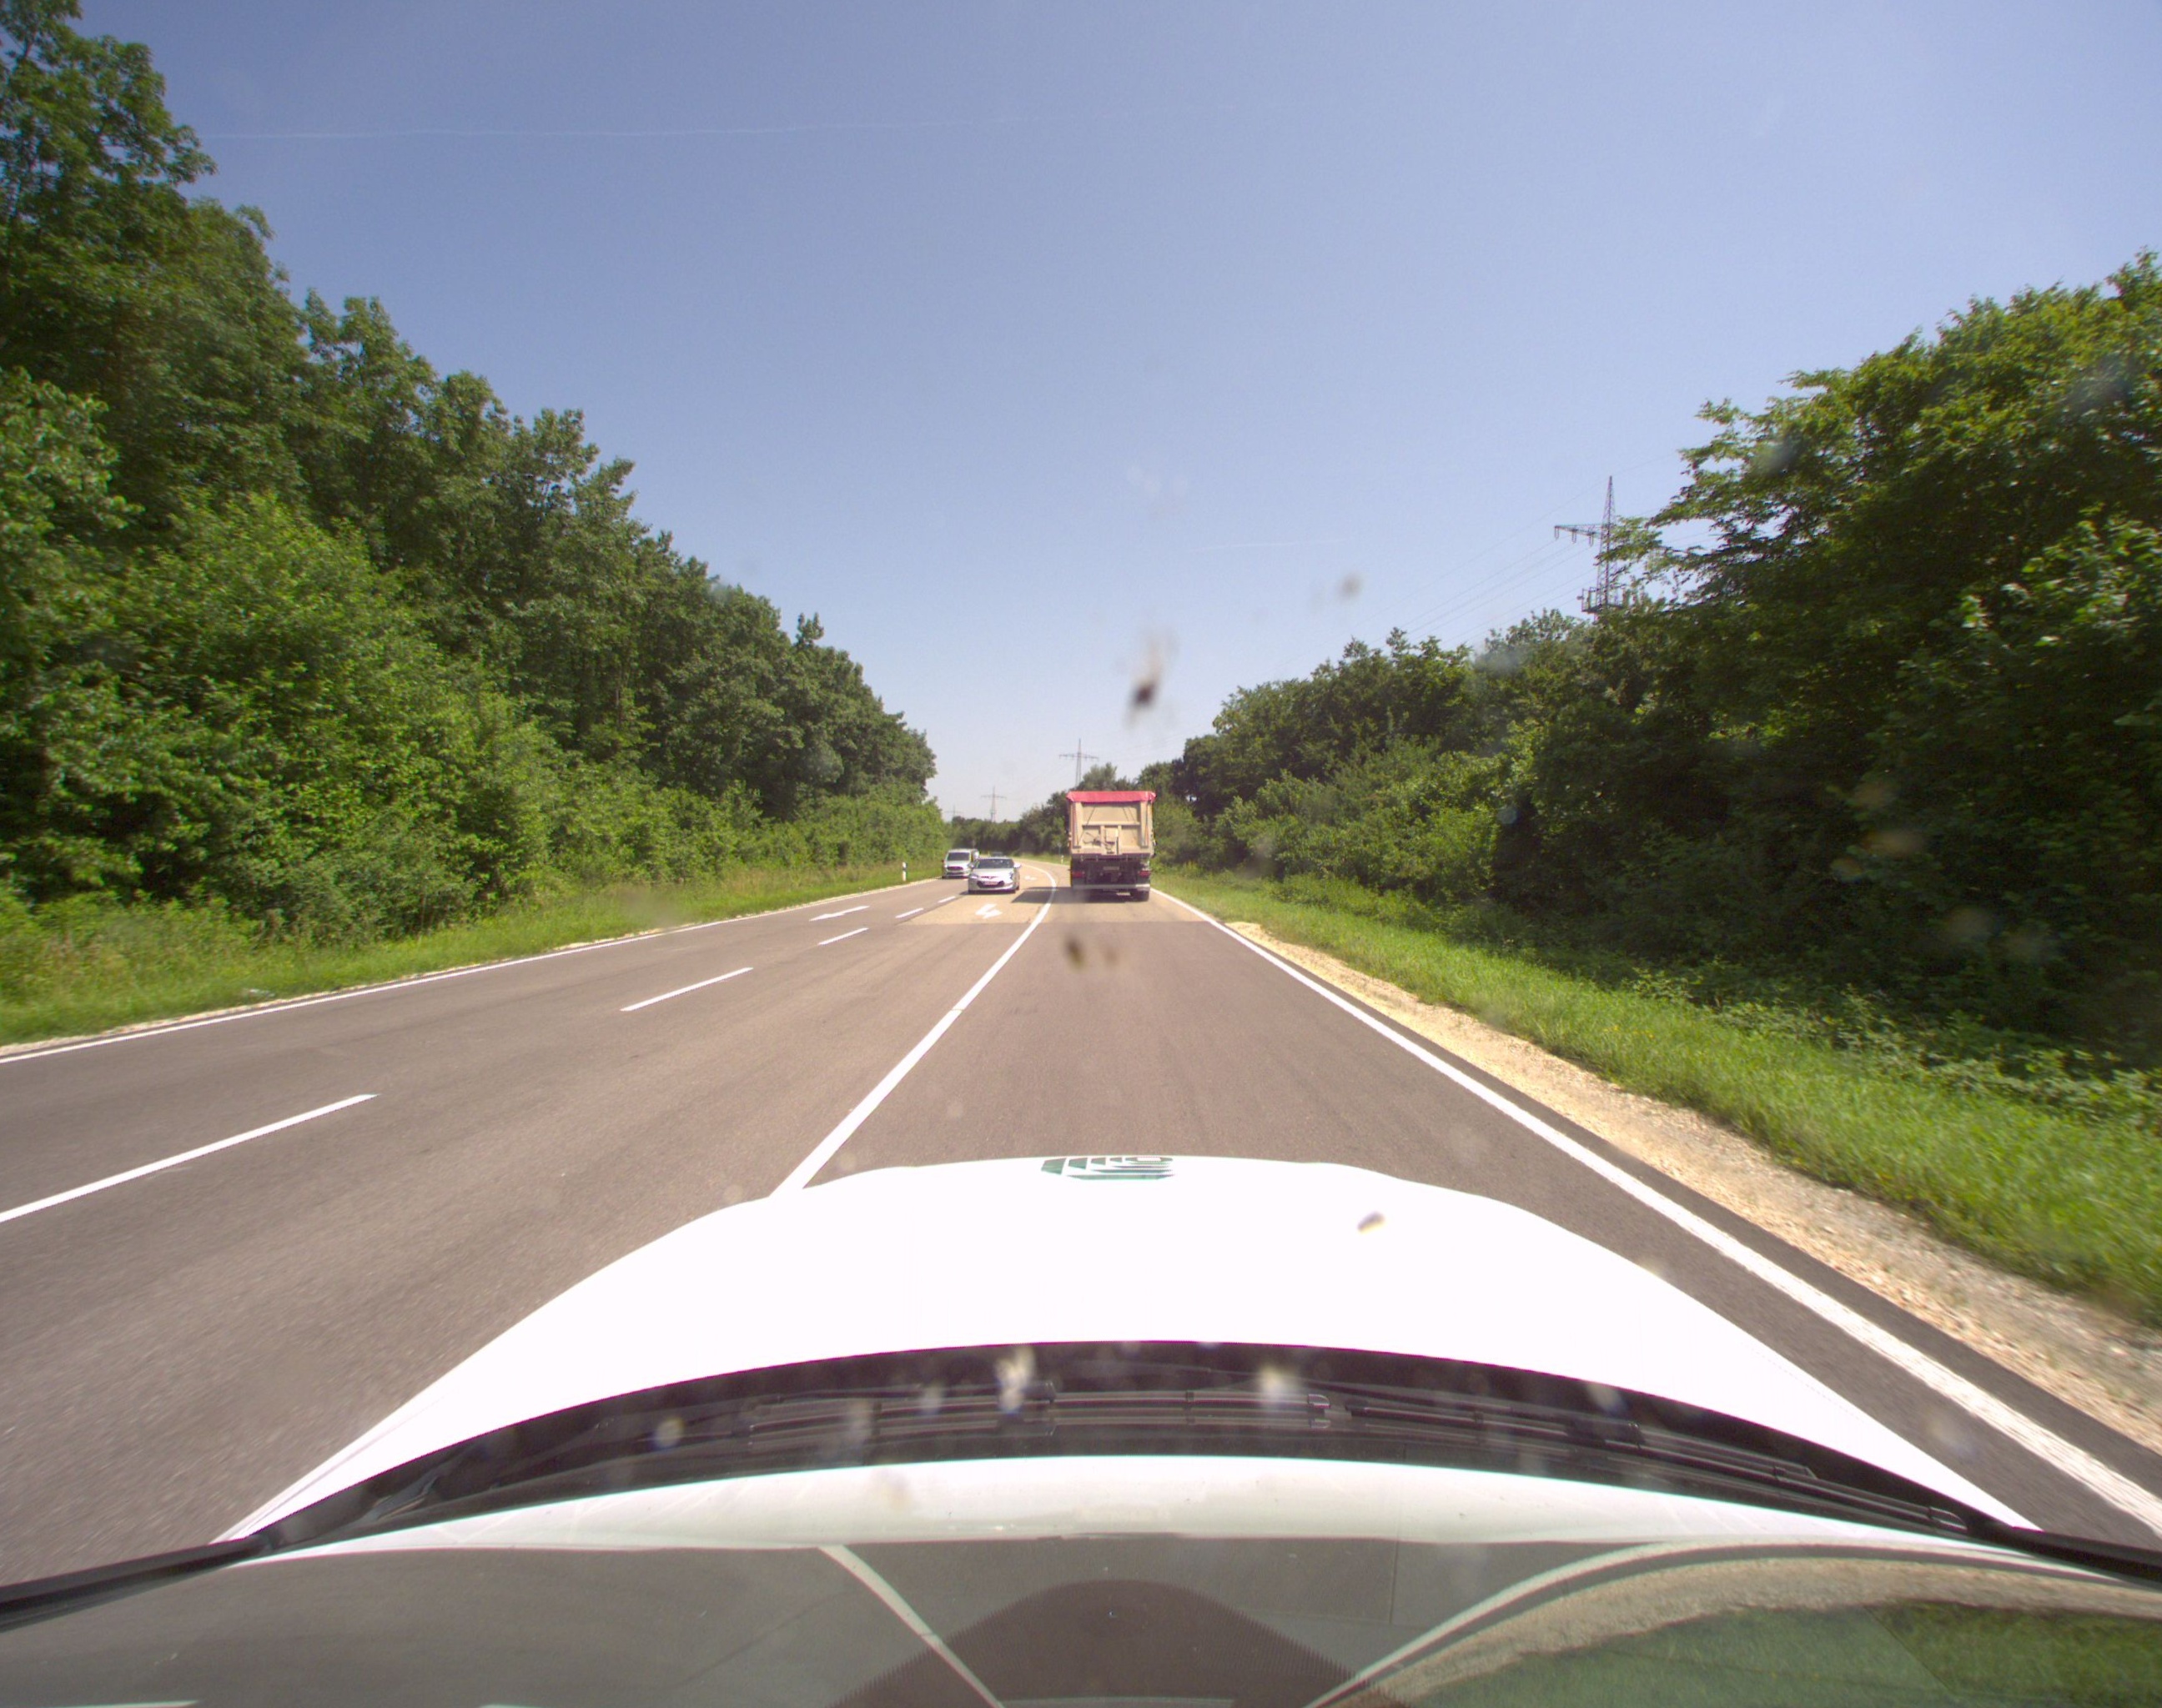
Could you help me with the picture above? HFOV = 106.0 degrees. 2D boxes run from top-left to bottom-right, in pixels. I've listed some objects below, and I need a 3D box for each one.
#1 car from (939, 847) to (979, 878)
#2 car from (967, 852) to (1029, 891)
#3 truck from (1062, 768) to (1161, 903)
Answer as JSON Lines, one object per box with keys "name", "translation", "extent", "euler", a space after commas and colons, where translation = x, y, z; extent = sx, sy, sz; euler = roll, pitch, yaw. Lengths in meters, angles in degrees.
{"name": "car", "translation": [-7.447, 0.480, 50.049], "extent": [1.837, 1.779, 4.890], "euler": [0, 0, -2]}
{"name": "car", "translation": [-3.203, 0.673, 32.090], "extent": [1.700, 1.419, 4.103], "euler": [-1, -1, 4]}
{"name": "truck", "translation": [0.932, -0.599, 29.985], "extent": [2.884, 3.962, 11.932], "euler": [0, 0, 0]}
